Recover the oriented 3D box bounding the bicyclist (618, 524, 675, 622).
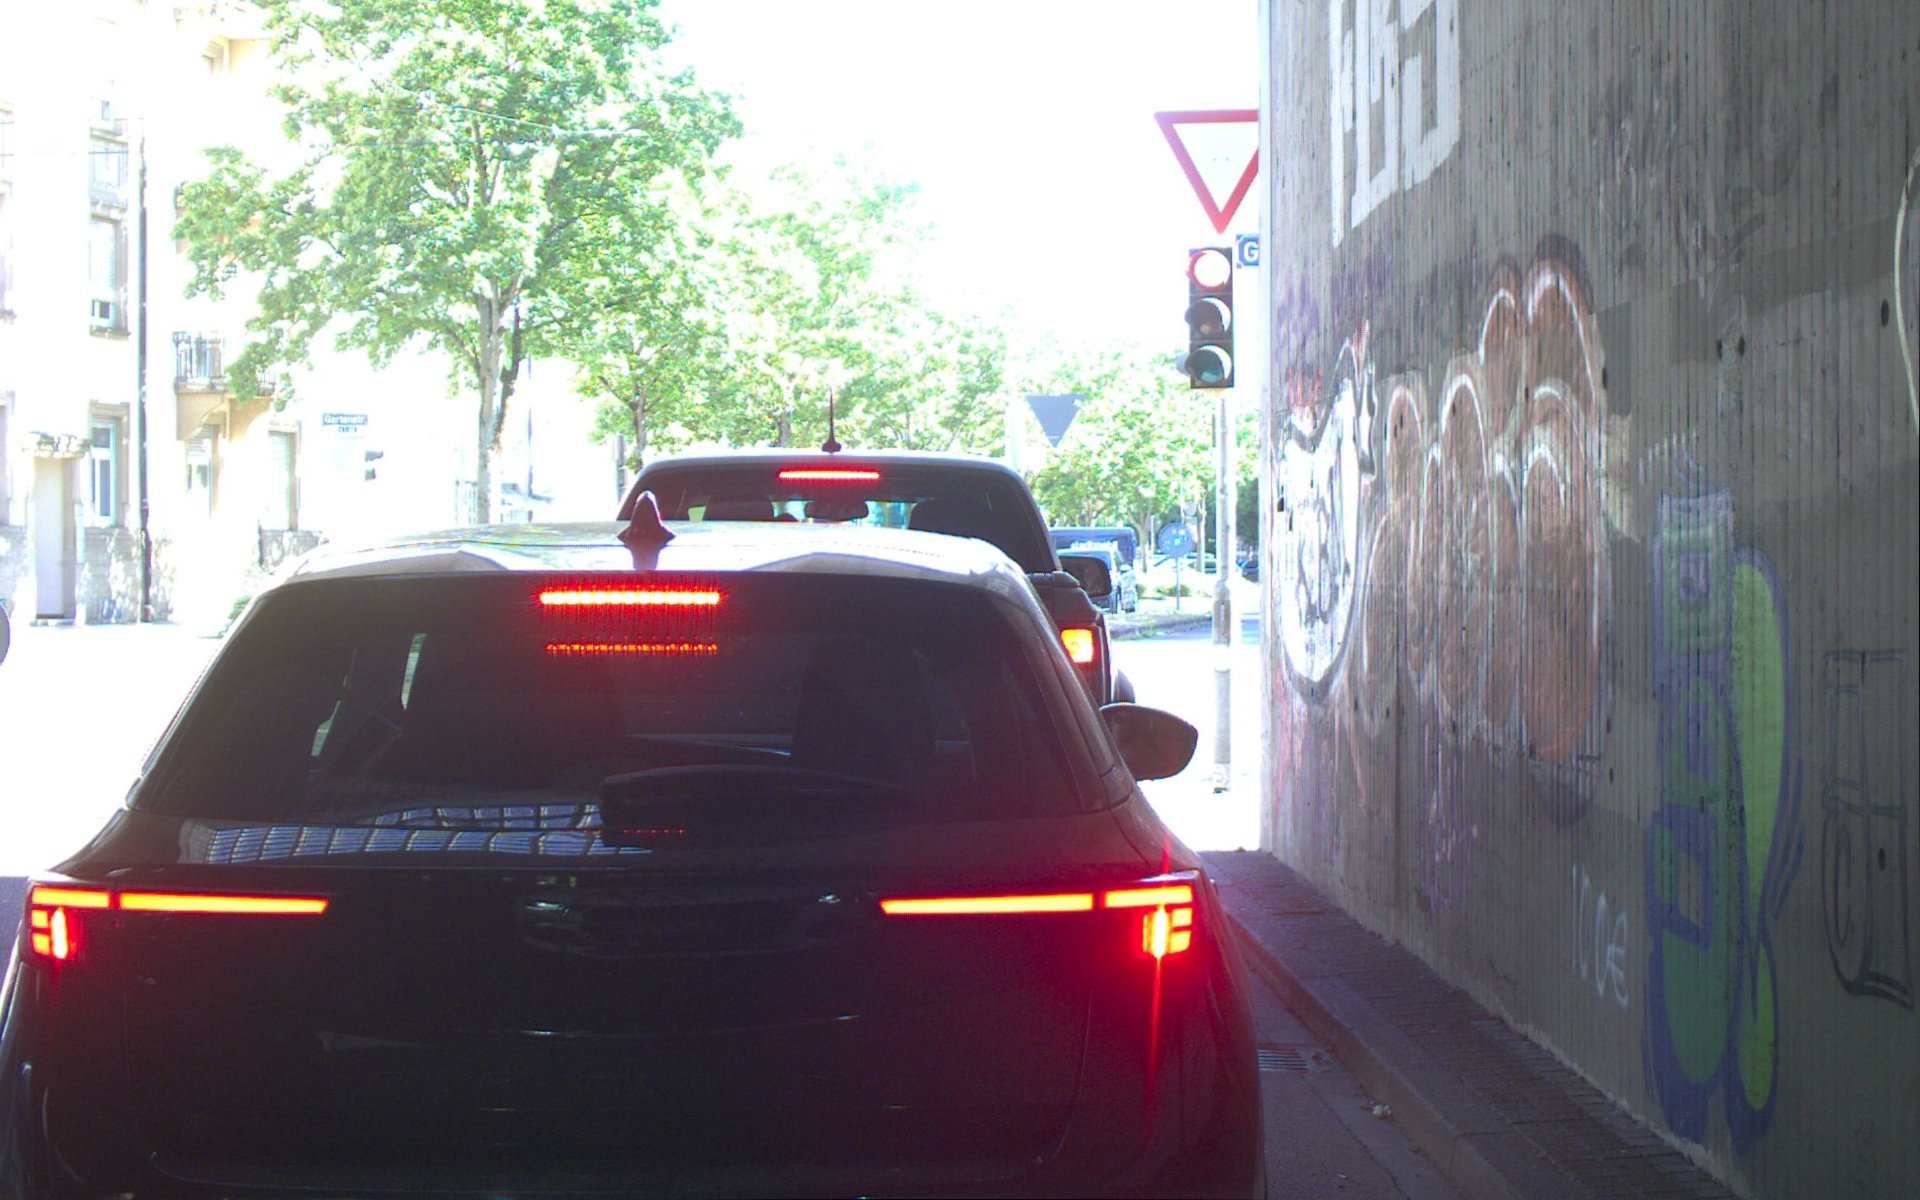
[{"bbox_3d":[-5.095,-0.447,55.943,0.729,1.576,0.814,1,0,9],"label":"bicyclist"}]

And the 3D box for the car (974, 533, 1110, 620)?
[{"bbox_3d":[1.515,-0.403,62.213,1.969,1.492,3.895,0,-1,9],"label":"car"}]

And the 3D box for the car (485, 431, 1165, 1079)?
[{"bbox_3d":[-0.409,0.410,11.909,1.945,1.853,3.964,-1,1,-1],"label":"car"}]

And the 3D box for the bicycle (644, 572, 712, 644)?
[{"bbox_3d":[-4.267,0.111,52.069,0.626,1.064,1.688,1,1,9],"label":"bicycle"}]

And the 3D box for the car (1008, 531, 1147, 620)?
[{"bbox_3d":[2.401,-0.462,69.022,2.221,1.713,4.458,0,-1,10],"label":"car"}]

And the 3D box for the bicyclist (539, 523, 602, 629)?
[{"bbox_3d":[-5.831,-0.360,51.559,0.729,1.576,0.814,1,0,9],"label":"bicyclist"}]

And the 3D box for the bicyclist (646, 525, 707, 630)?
[{"bbox_3d":[-4.289,-0.345,52.096,0.729,1.576,0.814,1,0,9],"label":"bicyclist"}]

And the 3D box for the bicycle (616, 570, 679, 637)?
[{"bbox_3d":[-5.088,0.046,56.072,0.626,1.064,1.688,1,1,9],"label":"bicycle"}]

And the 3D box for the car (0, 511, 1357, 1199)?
[{"bbox_3d":[-0.489,0.630,6.088,1.882,1.532,3.964,-1,1,-1],"label":"car"}]

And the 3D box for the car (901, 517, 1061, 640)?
[{"bbox_3d":[0.305,-0.245,44.191,1.968,1.492,3.896,0,-1,1],"label":"car"}]

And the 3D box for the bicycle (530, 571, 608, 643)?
[{"bbox_3d":[-5.849,0.096,51.534,0.732,1.064,1.688,1,1,9],"label":"bicycle"}]

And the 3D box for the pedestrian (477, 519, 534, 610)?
[{"bbox_3d":[-10.109,-0.794,76.568,0.992,2.007,1.088,0,1,8],"label":"pedestrian"}]
